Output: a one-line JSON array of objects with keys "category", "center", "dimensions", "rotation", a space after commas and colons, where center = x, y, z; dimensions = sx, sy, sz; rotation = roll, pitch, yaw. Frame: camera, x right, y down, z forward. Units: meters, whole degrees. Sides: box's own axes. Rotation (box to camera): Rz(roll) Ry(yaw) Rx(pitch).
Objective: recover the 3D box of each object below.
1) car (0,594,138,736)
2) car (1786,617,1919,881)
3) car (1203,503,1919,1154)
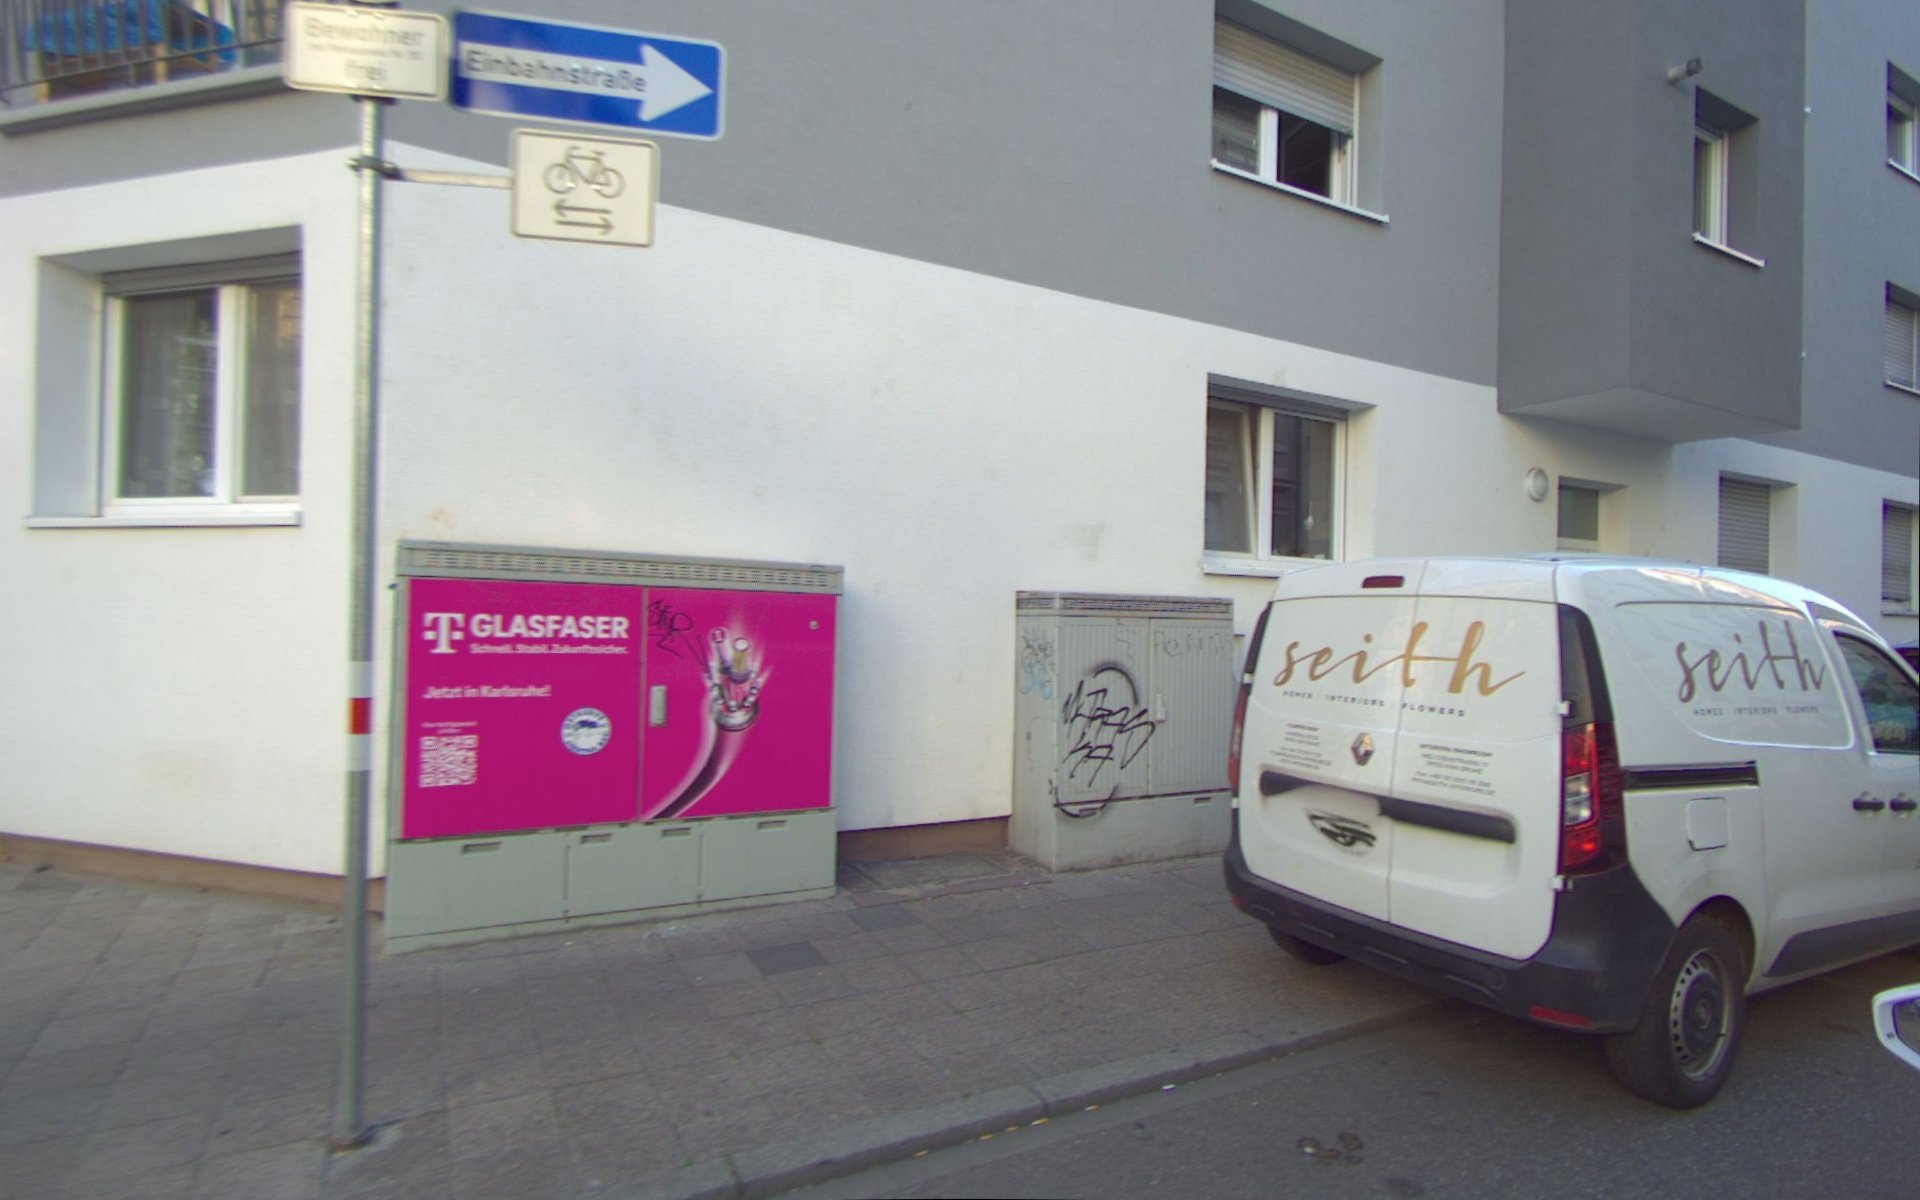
[{"category": "car", "center": [-11.969, 0.729, 12.548], "dimensions": [1.946, 1.578, 3.859], "rotation": [1, -1, -29]}, {"category": "car", "center": [7.718, 0.919, 7.074], "dimensions": [4.319, 1.584, 1.753], "rotation": [1, -1, -33]}, {"category": "car", "center": [3.220, 0.688, 4.586], "dimensions": [4.135, 1.838, 1.623], "rotation": [1, -1, -30]}]
